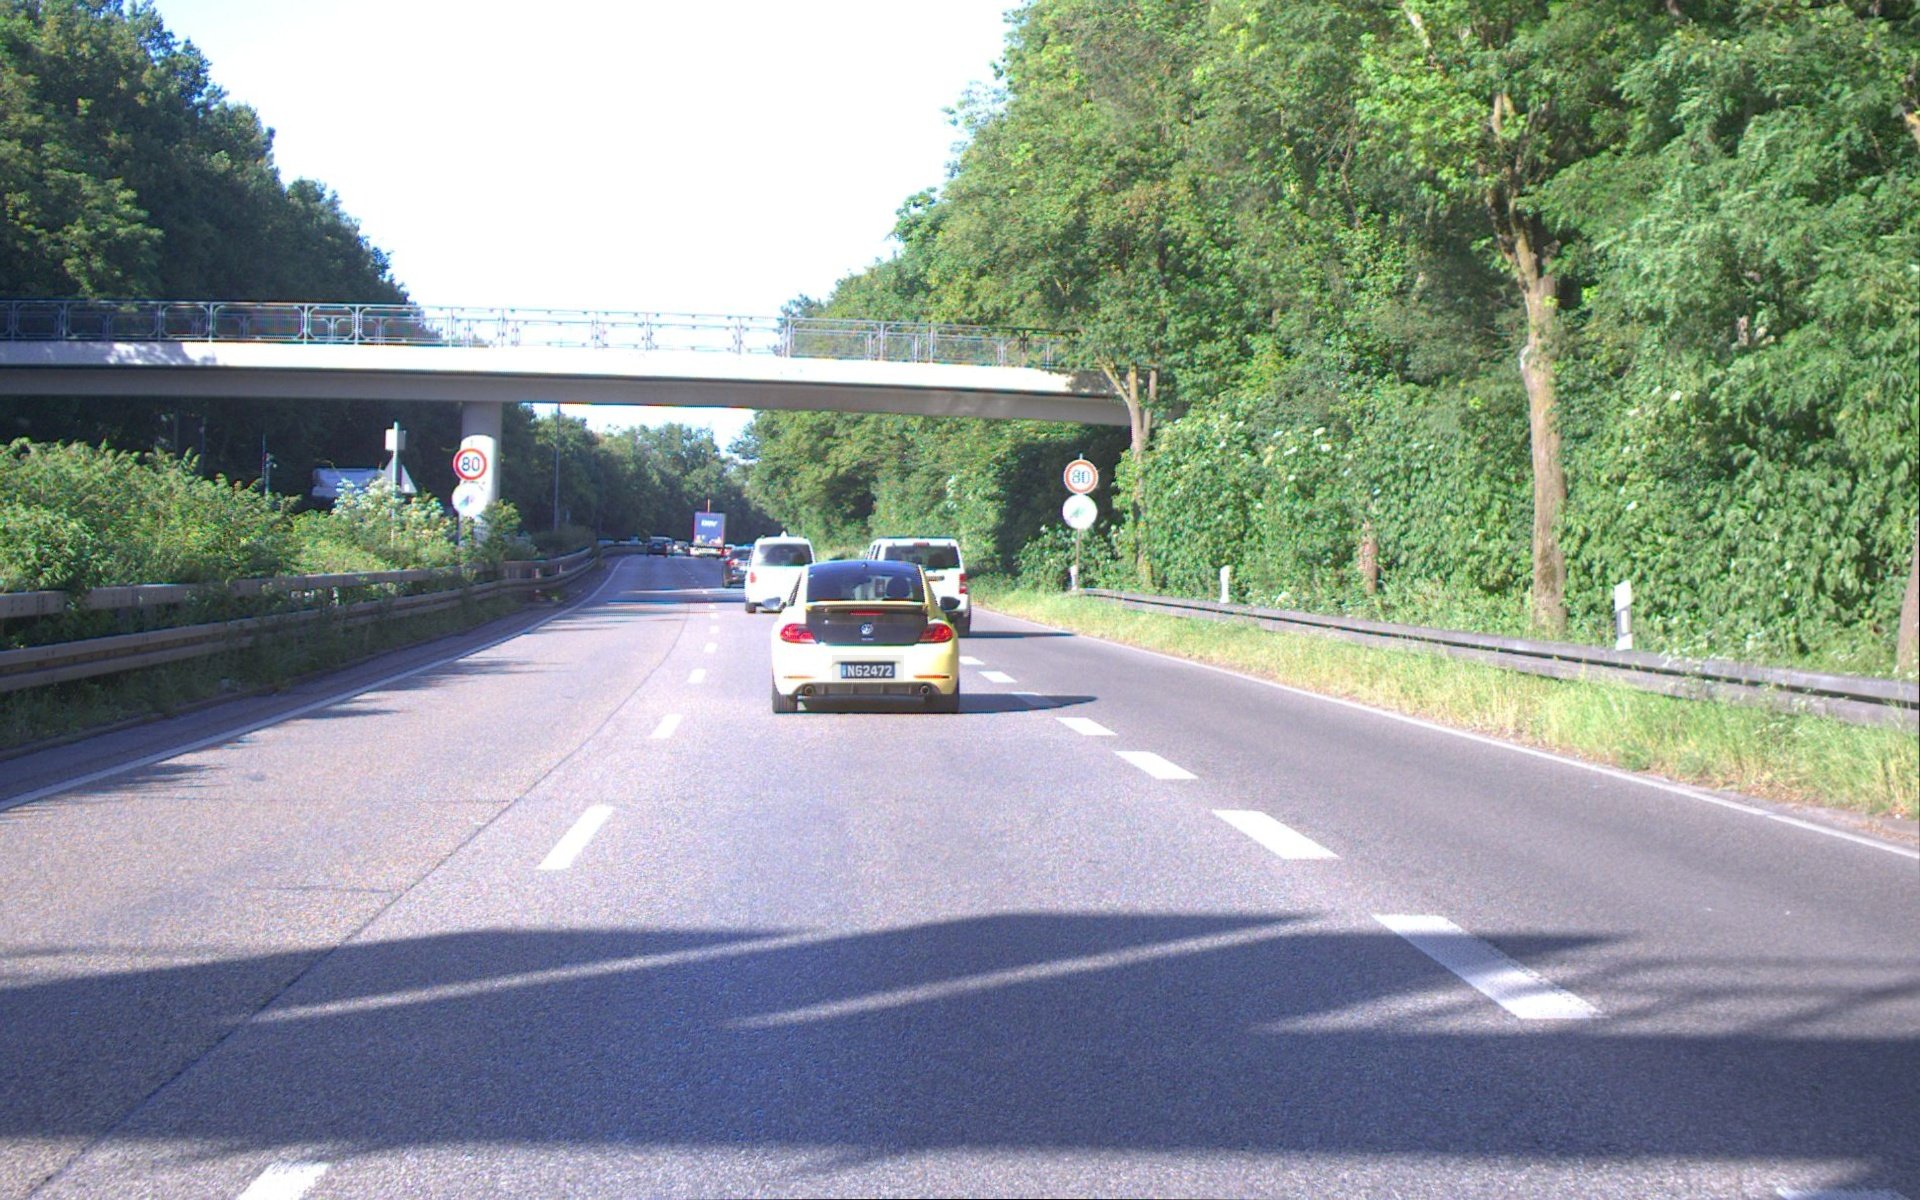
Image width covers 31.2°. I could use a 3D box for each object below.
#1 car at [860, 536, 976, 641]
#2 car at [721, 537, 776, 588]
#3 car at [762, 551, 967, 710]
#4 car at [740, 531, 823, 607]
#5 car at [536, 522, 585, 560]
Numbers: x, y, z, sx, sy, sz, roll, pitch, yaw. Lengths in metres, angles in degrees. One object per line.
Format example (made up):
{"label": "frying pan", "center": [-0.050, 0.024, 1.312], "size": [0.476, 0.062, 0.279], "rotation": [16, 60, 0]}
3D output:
{"label": "car", "center": [-0.790, -0.233, 61.674], "size": [1.897, 1.817, 4.001], "rotation": [0, 1, -3]}
{"label": "car", "center": [-7.564, -1.345, 122.597], "size": [1.897, 1.761, 4.001], "rotation": [0, 1, -4]}
{"label": "car", "center": [-0.990, 0.257, 33.944], "size": [1.897, 1.466, 4.001], "rotation": [0, 1, -3]}
{"label": "car", "center": [-4.288, -0.750, 82.082], "size": [1.897, 1.761, 4.001], "rotation": [0, 1, -4]}
{"label": "car", "center": [-17.707, -2.611, 152.659], "size": [1.719, 1.590, 4.000], "rotation": [1, 0, -1]}
